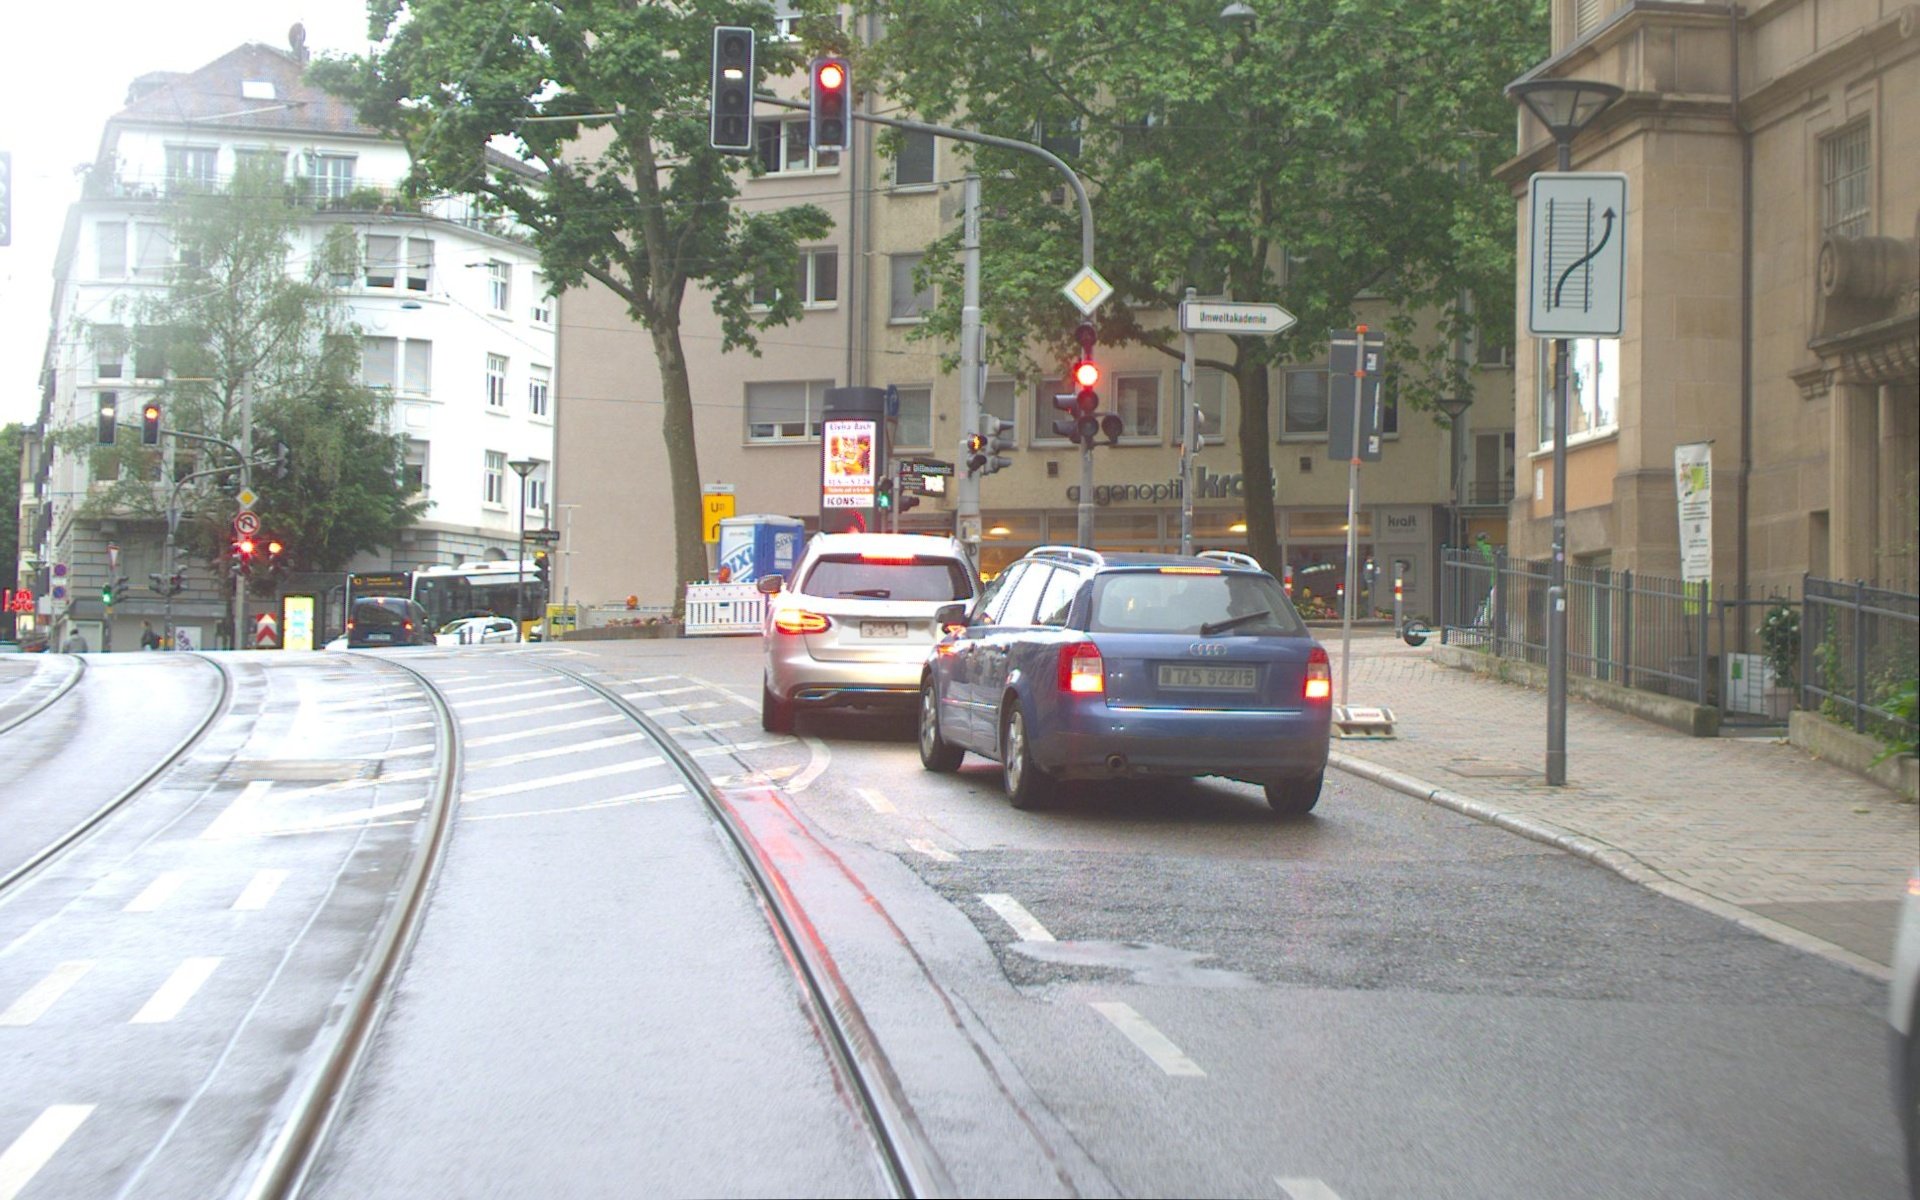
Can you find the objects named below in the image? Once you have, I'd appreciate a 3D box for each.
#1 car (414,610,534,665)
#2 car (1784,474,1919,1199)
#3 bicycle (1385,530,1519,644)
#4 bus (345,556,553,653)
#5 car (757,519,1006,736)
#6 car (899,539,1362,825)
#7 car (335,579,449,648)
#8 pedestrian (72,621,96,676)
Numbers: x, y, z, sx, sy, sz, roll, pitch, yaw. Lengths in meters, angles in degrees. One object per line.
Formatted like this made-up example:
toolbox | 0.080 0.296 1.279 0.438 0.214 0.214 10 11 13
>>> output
car | -14.581 1.104 103.319 1.796 1.505 3.995 1 1 22
car | 3.121 0.686 6.115 1.797 1.759 4.464 3 1 -5
bicycle | 5.209 -0.144 36.409 1.300 1.169 0.526 -1 1 -7
bus | -16.125 0.079 109.232 2.857 2.851 8.725 1 1 19
car | -0.634 0.154 25.990 1.710 1.451 3.553 2 2 -3
car | 0.877 0.407 20.164 1.710 1.410 4.038 2 2 -12
car | -13.570 0.294 82.303 1.794 1.505 4.000 -2 1 4
pedestrian | -26.822 1.479 105.272 0.648 1.655 0.650 2 1 -15
